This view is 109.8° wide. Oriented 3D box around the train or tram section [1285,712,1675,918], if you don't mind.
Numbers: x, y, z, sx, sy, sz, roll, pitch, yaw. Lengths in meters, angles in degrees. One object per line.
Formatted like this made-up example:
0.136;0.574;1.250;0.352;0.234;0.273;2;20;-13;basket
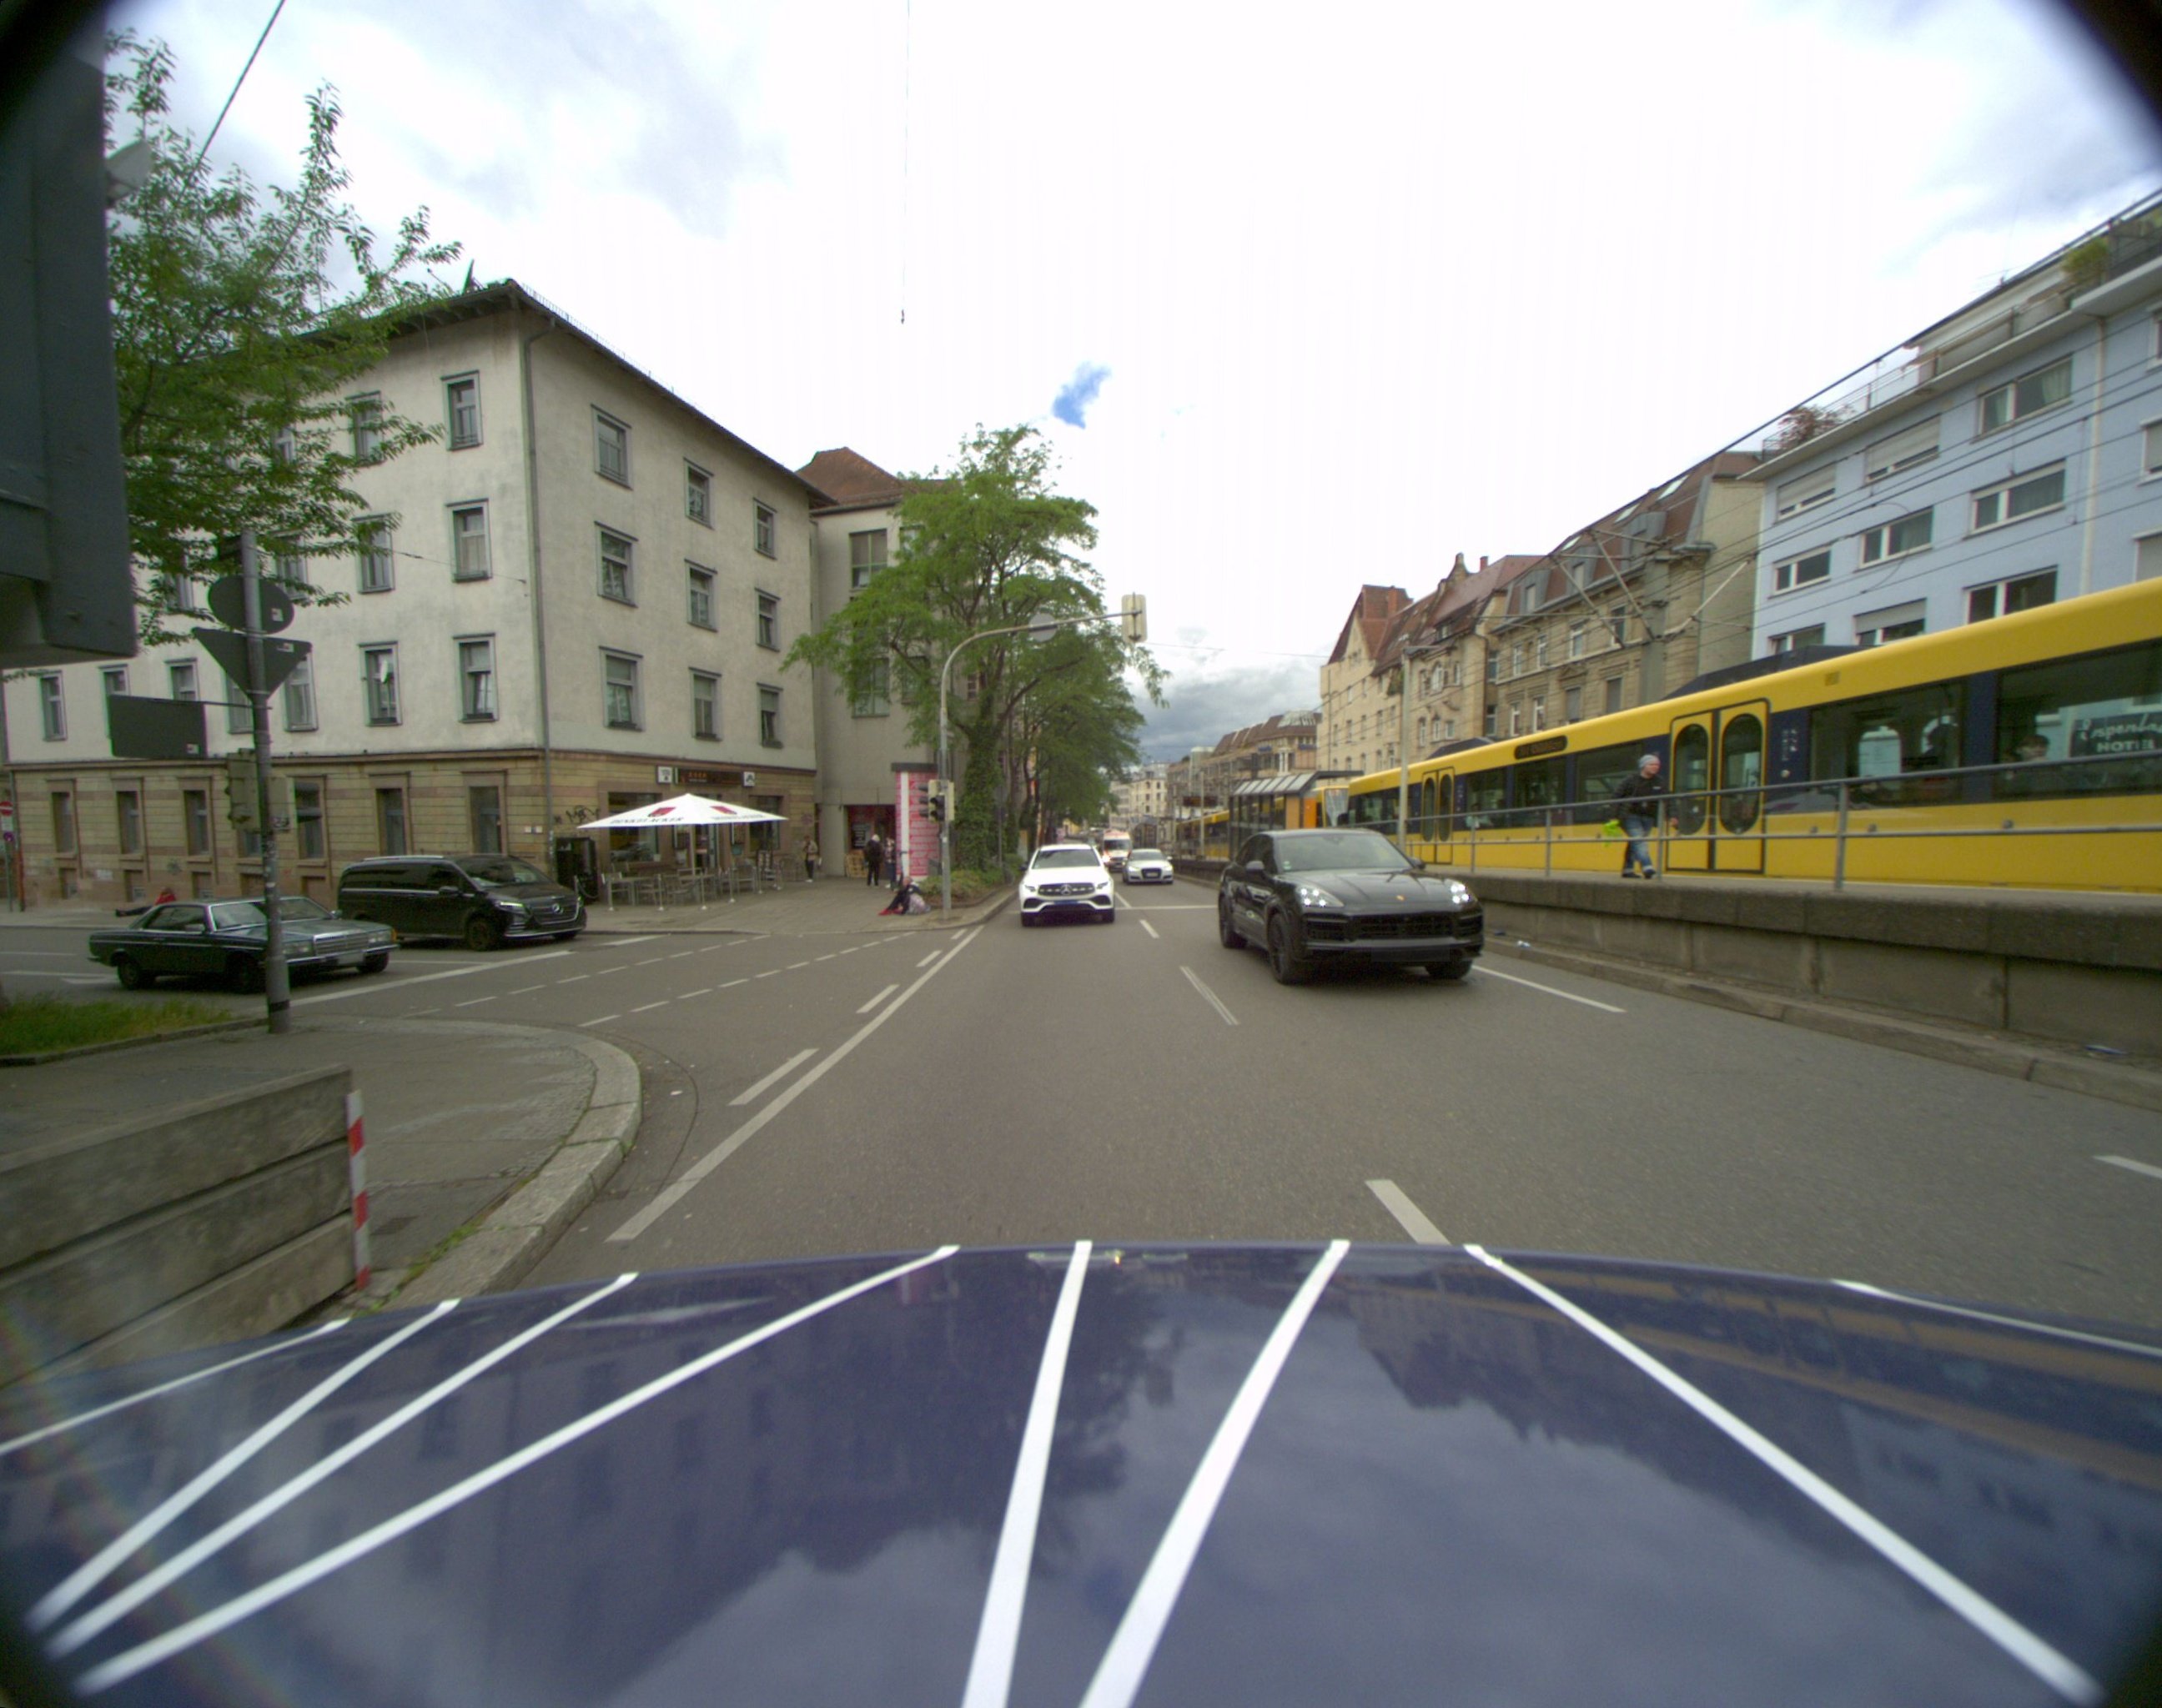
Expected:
9.097;-0.803;20.765;2.889;3.643;14.225;-1;1;-1;train or tram section

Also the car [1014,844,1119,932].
-0.269;0.606;16.613;1.935;1.622;4.772;-1;1;0;car

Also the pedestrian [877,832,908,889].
-6.322;0.218;25.500;0.706;1.879;0.880;-1;1;6;pedestrian

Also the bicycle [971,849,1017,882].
-3.323;0.437;29.053;1.692;1.215;0.542;-1;1;-5;bicycle

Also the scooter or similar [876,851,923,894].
-5.601;0.556;23.441;1.387;1.247;0.632;2;3;35;scooter or similar

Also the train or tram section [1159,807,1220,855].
8.755;-1.786;63.431;2.889;3.399;14.227;-2;1;0;train or tram section

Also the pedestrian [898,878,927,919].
-3.907;1.016;17.620;0.485;0.905;0.583;-2;1;3;pedestrian

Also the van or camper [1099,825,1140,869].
2.433;-0.472;49.237;2.208;2.543;6.372;-2;1;-1;van or camper

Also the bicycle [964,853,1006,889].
-3.405;0.586;27.090;1.424;1.215;0.542;-2;1;-5;bicycle

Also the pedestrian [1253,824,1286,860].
6.019;-0.386;24.324;0.852;1.136;0.778;1;1;1;pedestrian

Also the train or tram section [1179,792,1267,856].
8.757;-1.723;49.167;2.889;3.422;14.227;-2;1;0;train or tram section

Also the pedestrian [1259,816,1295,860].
5.912;-0.475;22.986;0.852;1.298;0.778;1;1;1;pedestrian

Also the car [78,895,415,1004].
-13.498;1.454;12.338;4.584;1.350;1.762;-1;4;17;car

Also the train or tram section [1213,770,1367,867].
8.915;-1.445;34.976;2.930;3.538;14.225;0;1;-1;train or tram section

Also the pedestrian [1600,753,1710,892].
6.776;-0.362;9.003;0.780;1.575;0.665;0;1;0;pedestrian

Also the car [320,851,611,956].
-12.892;1.004;15.998;5.142;1.897;2.001;-2;3;15;car

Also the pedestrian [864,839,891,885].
-6.812;0.267;25.426;0.624;1.514;0.664;-1;1;6;pedestrian

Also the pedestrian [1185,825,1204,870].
5.737;-0.319;38.512;0.838;2.271;0.772;0;1;0;pedestrian

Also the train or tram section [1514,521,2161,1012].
9.438;-0.669;6.650;2.889;3.643;14.225;0;1;-1;train or tram section

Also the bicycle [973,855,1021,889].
-3.064;0.664;27.766;1.745;1.214;0.542;0;1;-5;bicycle

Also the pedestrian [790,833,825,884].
-9.985;0.152;27.795;0.901;1.823;0.737;-1;1;28;pedestrian

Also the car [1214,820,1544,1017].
3.019;0.535;9.000;2.032;1.675;4.780;-1;1;0;car

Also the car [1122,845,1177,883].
2.811;0.373;32.014;1.897;1.467;4.530;-1;1;0;car
